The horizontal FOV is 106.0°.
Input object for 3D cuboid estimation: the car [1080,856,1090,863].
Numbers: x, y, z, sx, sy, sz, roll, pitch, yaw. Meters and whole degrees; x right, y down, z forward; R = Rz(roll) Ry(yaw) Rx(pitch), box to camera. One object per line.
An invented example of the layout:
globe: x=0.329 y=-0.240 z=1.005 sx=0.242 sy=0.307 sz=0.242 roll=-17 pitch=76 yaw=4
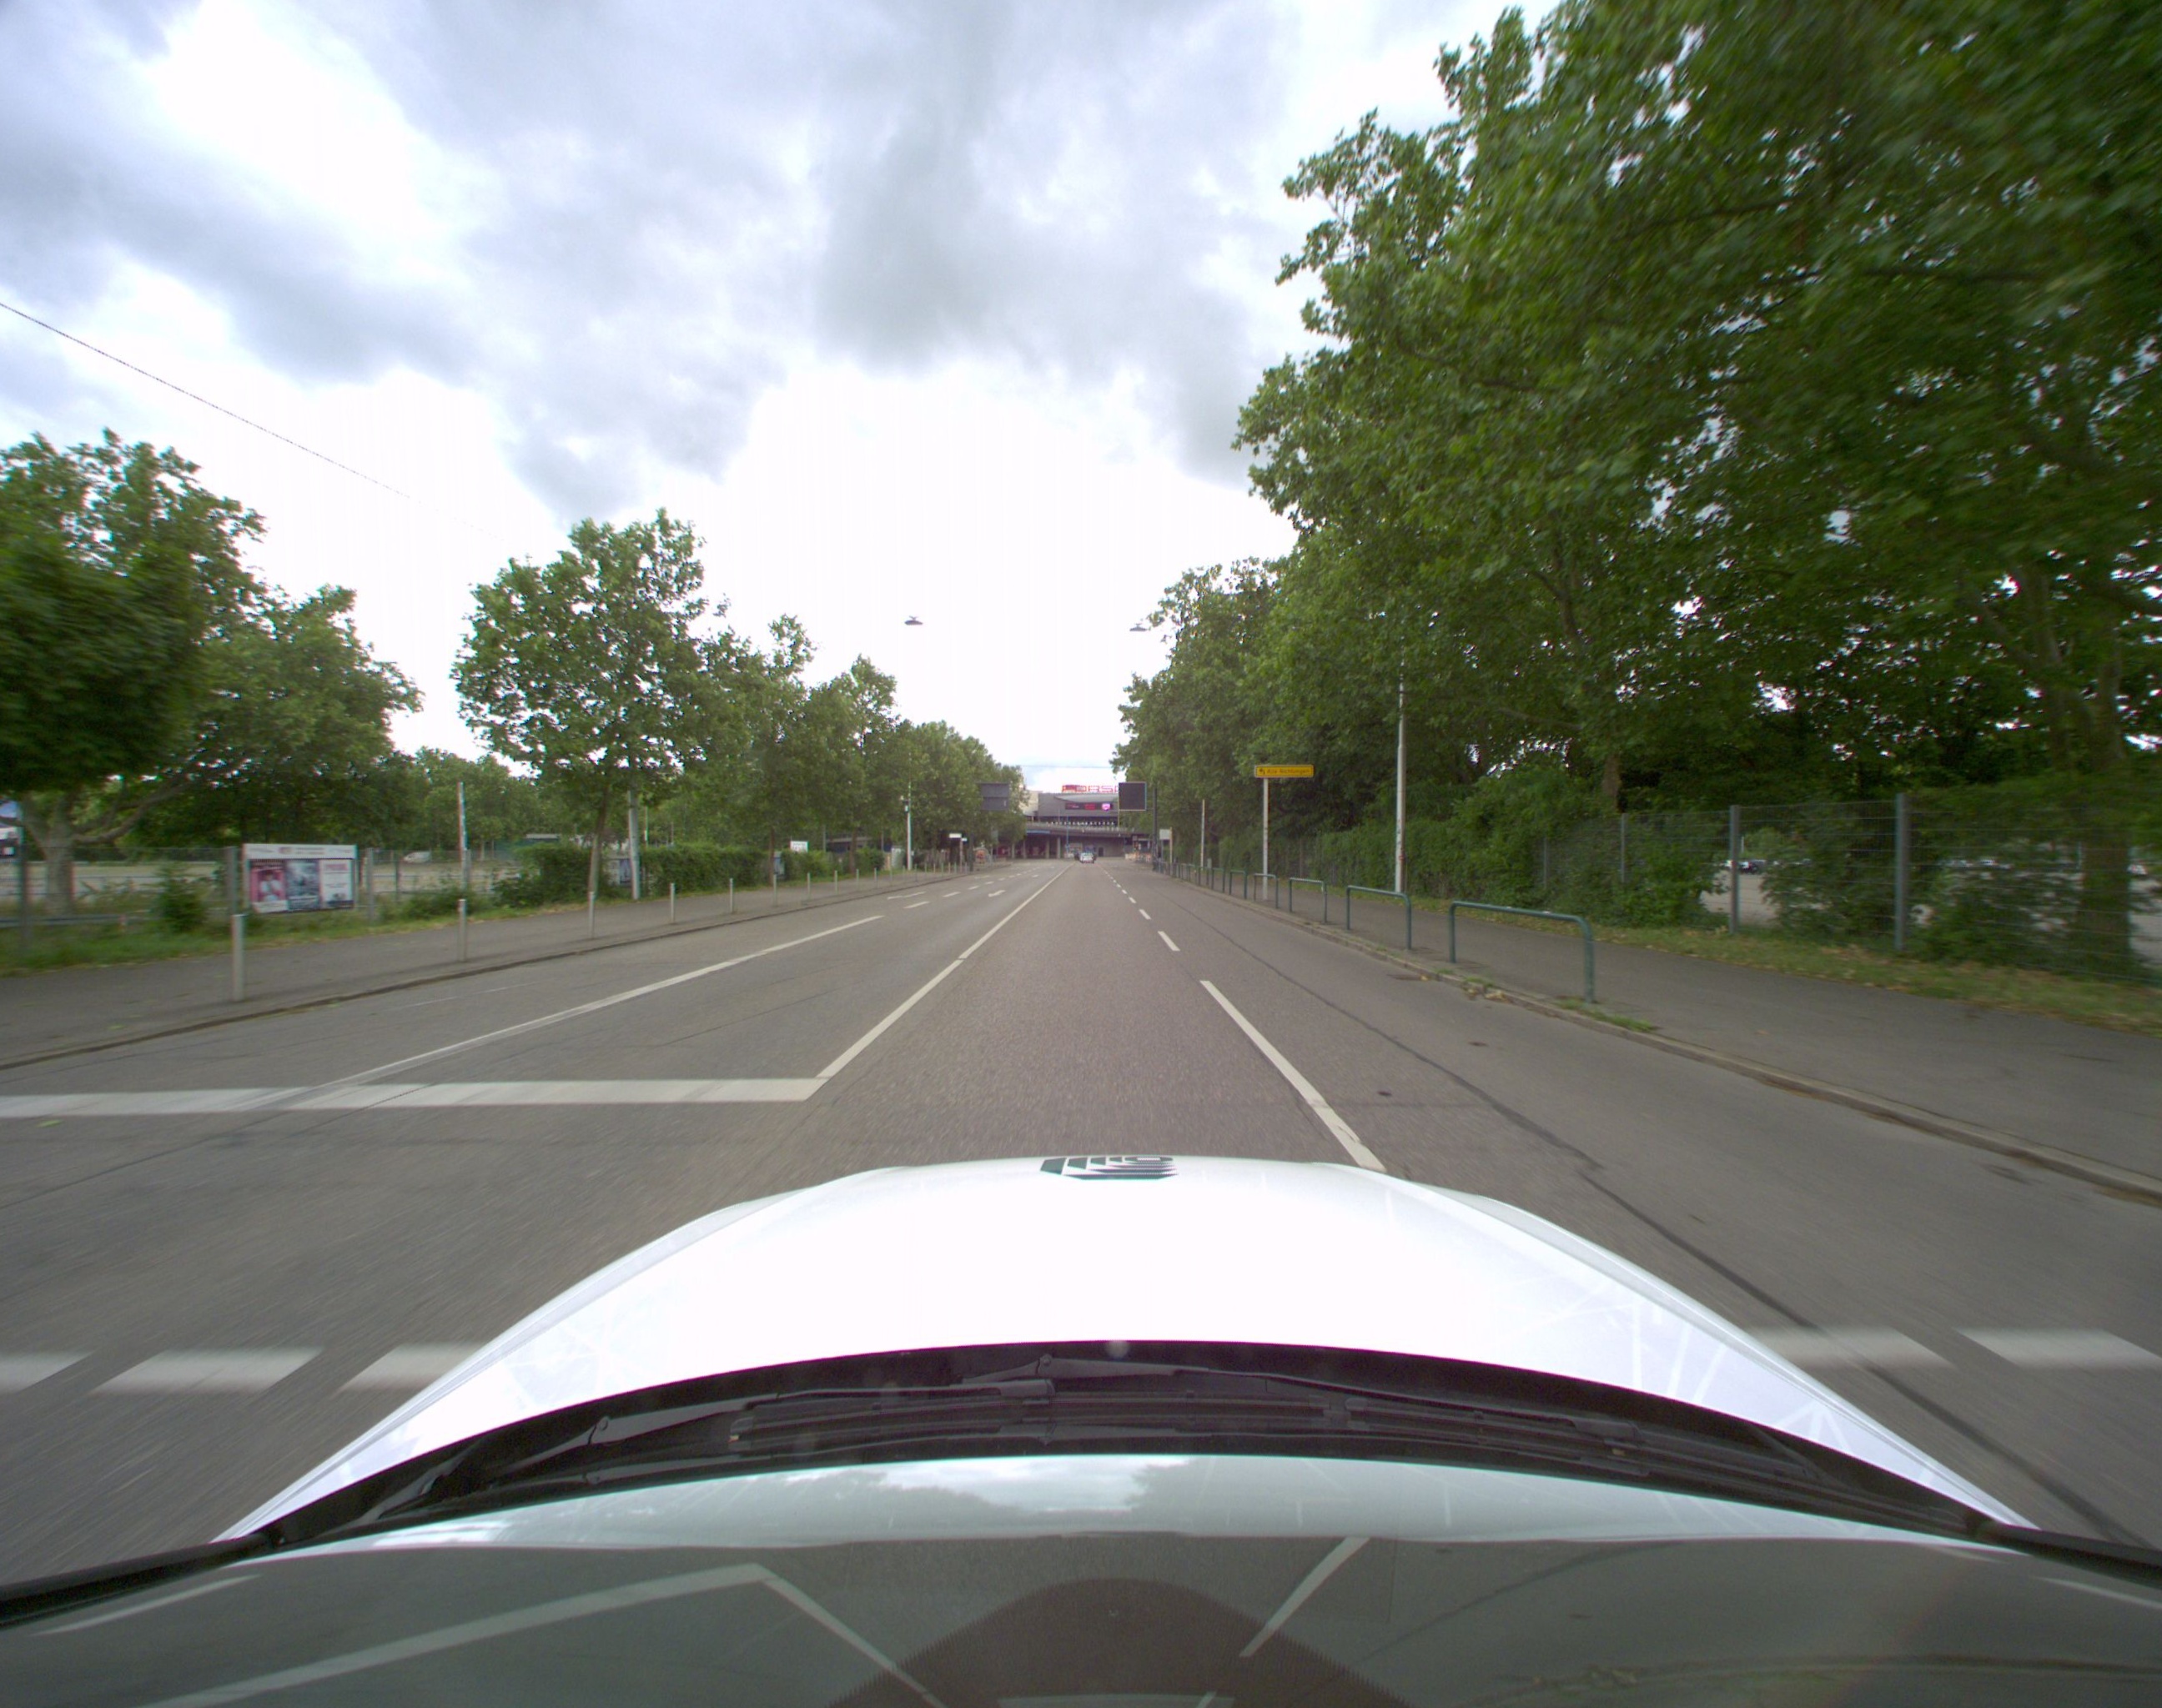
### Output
car: x=0.585 y=0.866 z=133.673 sx=1.408 sy=1.113 sz=3.034 roll=2 pitch=0 yaw=-4

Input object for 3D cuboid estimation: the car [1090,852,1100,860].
car: x=2.898 y=0.425 z=165.542 sx=2.000 sy=1.698 sz=4.071 roll=1 pitch=0 yaw=2

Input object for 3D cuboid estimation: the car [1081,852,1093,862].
car: x=0.918 y=0.490 z=122.066 sx=1.772 sy=1.460 sz=3.823 roll=2 pitch=0 yaw=1
